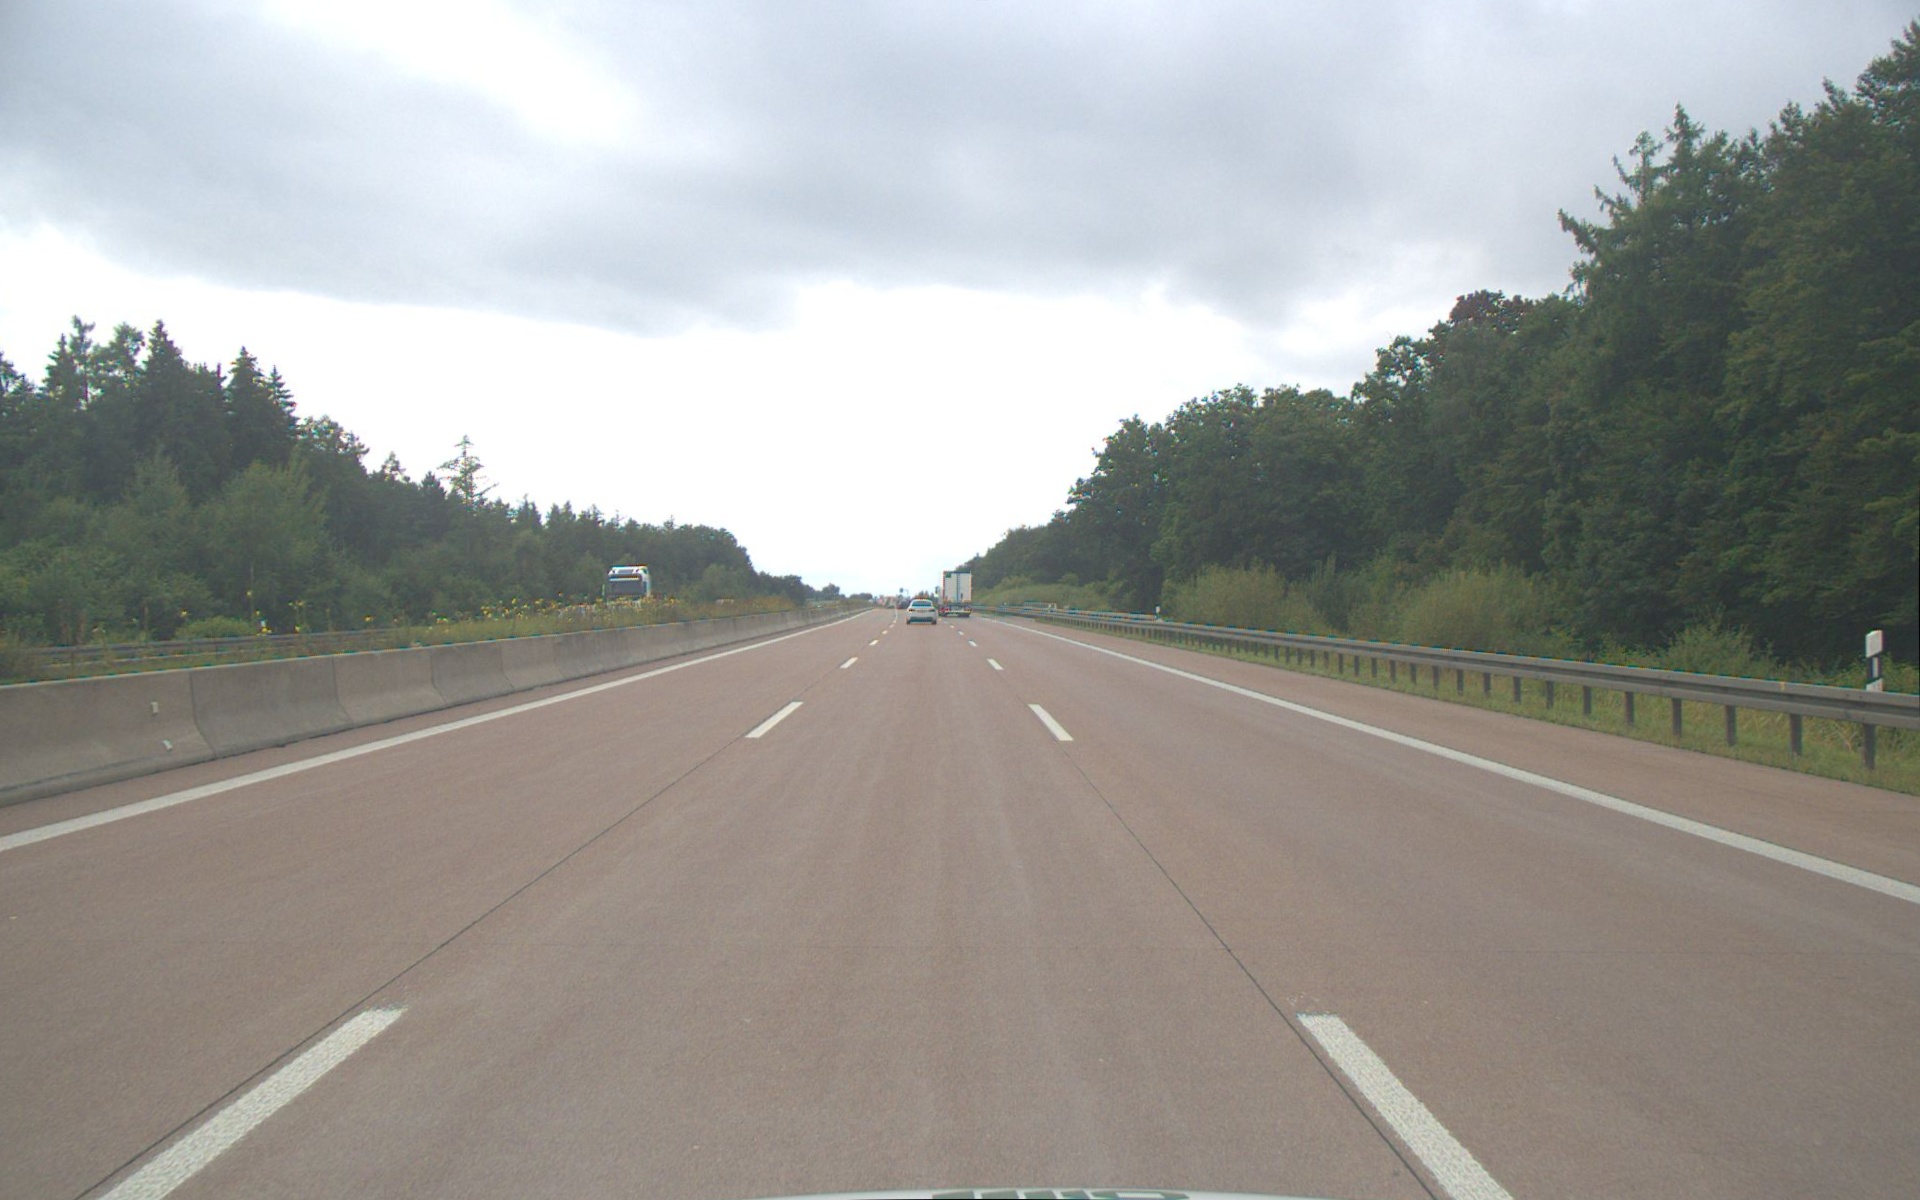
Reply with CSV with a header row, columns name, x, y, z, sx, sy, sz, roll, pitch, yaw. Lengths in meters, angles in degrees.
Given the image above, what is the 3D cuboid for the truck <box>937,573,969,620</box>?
name,x,y,z,sx,sy,sz,roll,pitch,yaw
truck,-0.730,-0.322,157.859,2.863,4.369,5.332,0,-1,-3

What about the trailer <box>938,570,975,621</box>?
name,x,y,z,sx,sy,sz,roll,pitch,yaw
trailer,-0.401,-0.346,150.227,2.863,4.369,13.606,0,0,-2

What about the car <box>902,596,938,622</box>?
name,x,y,z,sx,sy,sz,roll,pitch,yaw
car,-2.433,0.540,101.036,2.119,1.476,4.717,1,0,-1

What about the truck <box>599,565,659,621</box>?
name,x,y,z,sx,sy,sz,roll,pitch,yaw
truck,-21.309,-0.440,106.803,2.874,3.479,5.343,1,0,-1

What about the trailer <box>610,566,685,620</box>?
name,x,y,z,sx,sy,sz,roll,pitch,yaw
trailer,-21.489,-0.454,114.492,2.874,3.479,13.266,1,0,-1
